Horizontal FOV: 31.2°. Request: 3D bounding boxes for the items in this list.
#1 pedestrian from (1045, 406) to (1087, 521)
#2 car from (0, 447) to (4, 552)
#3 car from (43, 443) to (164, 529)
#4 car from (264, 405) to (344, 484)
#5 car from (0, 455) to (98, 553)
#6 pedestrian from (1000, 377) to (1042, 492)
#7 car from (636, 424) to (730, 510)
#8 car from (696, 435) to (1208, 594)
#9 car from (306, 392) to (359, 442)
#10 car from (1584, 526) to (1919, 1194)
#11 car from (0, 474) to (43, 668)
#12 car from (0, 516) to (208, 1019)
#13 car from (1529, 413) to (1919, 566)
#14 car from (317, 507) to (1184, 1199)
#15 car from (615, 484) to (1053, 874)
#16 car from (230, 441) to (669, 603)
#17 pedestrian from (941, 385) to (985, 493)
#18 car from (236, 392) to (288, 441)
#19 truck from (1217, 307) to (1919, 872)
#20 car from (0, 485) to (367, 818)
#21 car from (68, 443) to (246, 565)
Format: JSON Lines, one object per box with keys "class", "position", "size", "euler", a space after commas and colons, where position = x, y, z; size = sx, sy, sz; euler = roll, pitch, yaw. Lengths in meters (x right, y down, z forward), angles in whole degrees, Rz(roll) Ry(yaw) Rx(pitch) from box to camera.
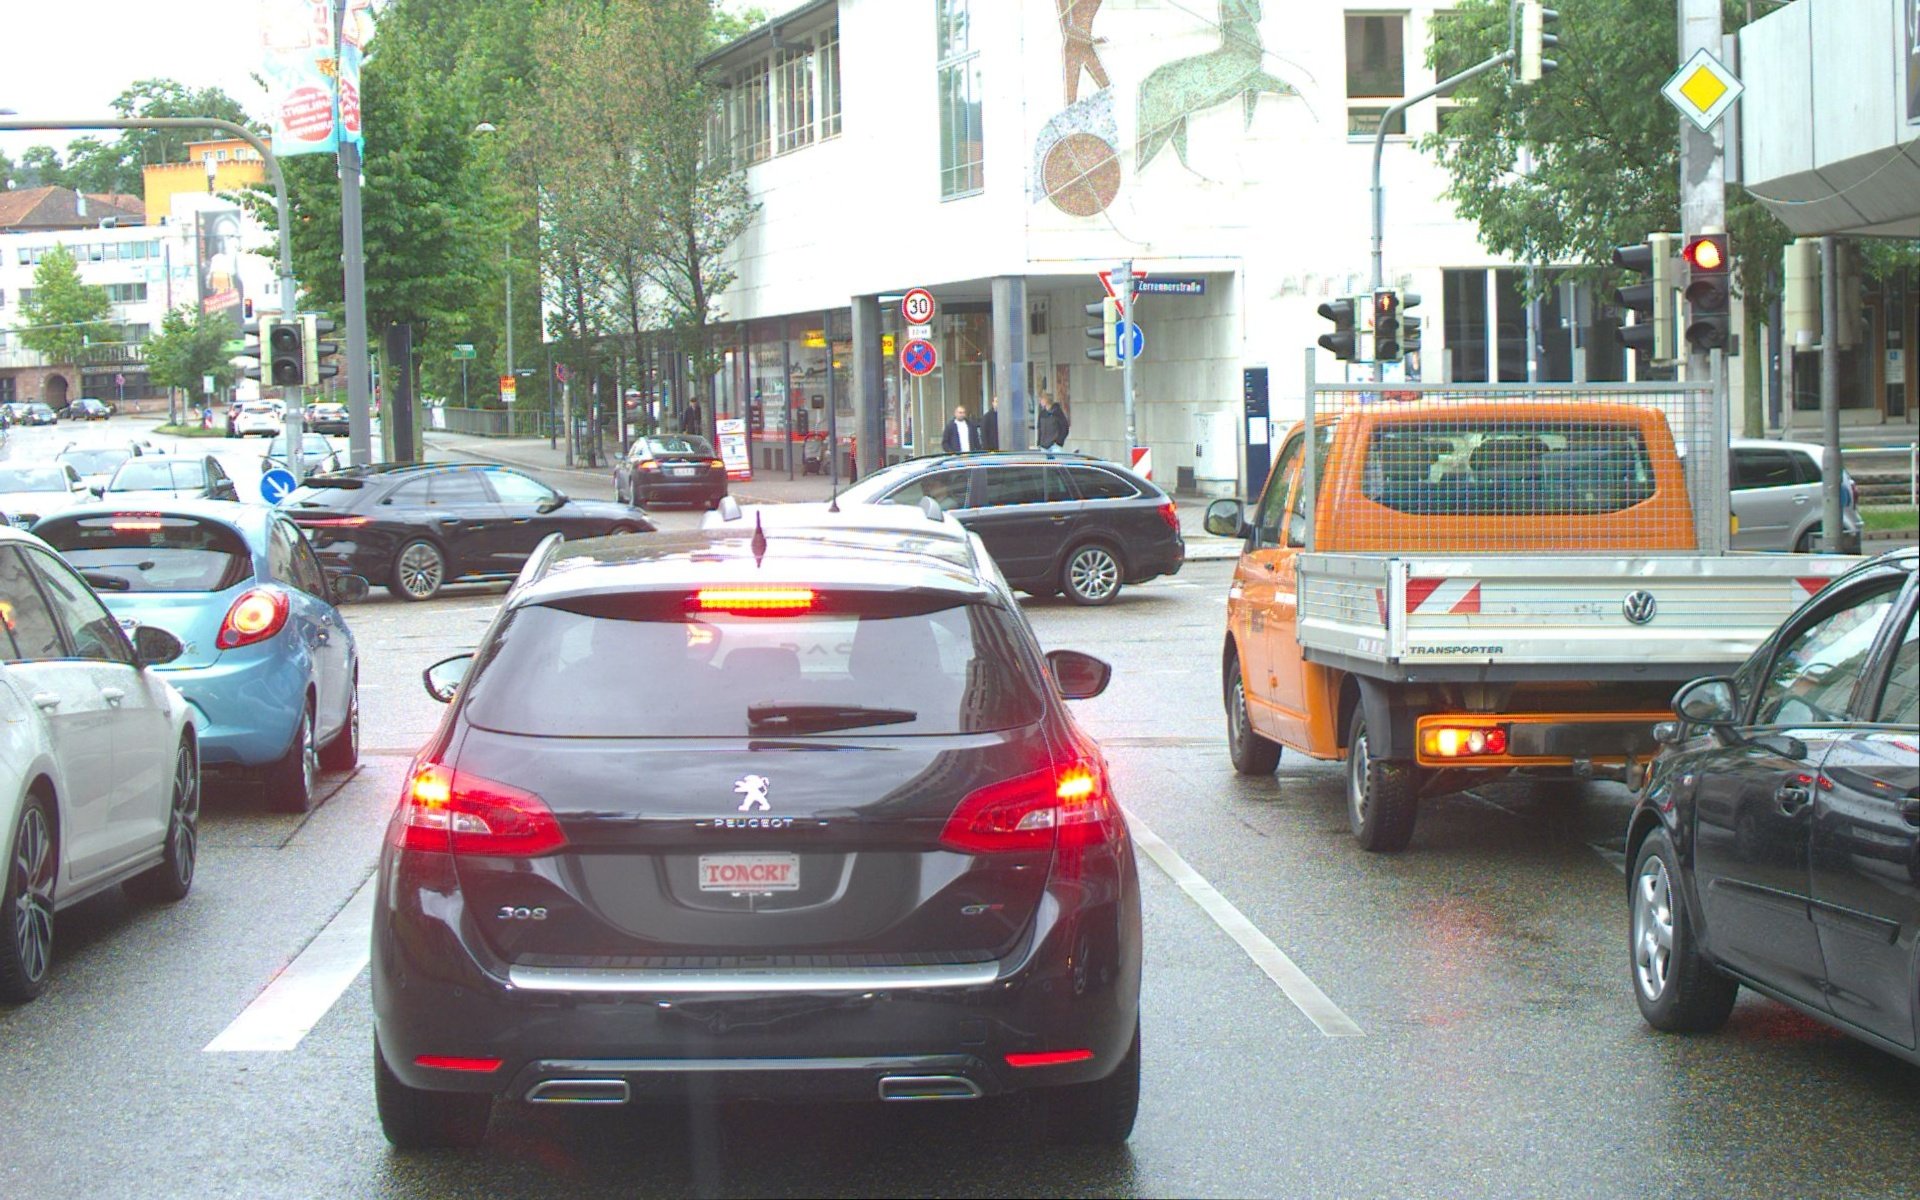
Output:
{"class": "pedestrian", "position": [1.779, -2.289, 57.763], "size": [0.637, 1.891, 0.733], "euler": [0, 0, 6]}
{"class": "car", "position": [-14.250, -1.355, 47.002], "size": [1.574, 1.481, 3.610], "euler": [0, 2, -4]}
{"class": "car", "position": [-15.218, -2.044, 61.199], "size": [1.632, 1.481, 3.611], "euler": [0, 2, -7]}
{"class": "car", "position": [-15.088, -3.559, 79.106], "size": [1.744, 1.634, 4.001], "euler": [1, 0, -11]}
{"class": "car", "position": [-14.603, -1.530, 53.938], "size": [1.632, 1.481, 3.611], "euler": [0, 2, -7]}
{"class": "pedestrian", "position": [1.025, -2.775, 57.779], "size": [0.637, 1.891, 0.733], "euler": [0, 0, 6]}
{"class": "car", "position": [-5.473, -2.578, 67.505], "size": [1.724, 1.485, 4.734], "euler": [0, 0, -6]}
{"class": "car", "position": [-0.096, -0.838, 33.507], "size": [4.721, 1.481, 1.639], "euler": [0, 2, -15]}
{"class": "car", "position": [-26.872, -7.817, 147.135], "size": [1.705, 1.929, 4.001], "euler": [1, 0, -18]}
{"class": "car", "position": [2.842, 0.555, 8.650], "size": [1.616, 1.424, 3.843], "euler": [0, 2, -3]}
{"class": "car", "position": [-9.792, -0.204, 28.202], "size": [4.226, 1.559, 1.705], "euler": [-2, 2, -11]}
{"class": "car", "position": [-3.738, 0.448, 11.462], "size": [1.777, 1.424, 3.843], "euler": [0, 2, -3]}
{"class": "car", "position": [8.052, -1.118, 35.709], "size": [3.894, 1.481, 1.624], "euler": [0, 0, -12]}
{"class": "car", "position": [-0.512, 0.487, 9.016], "size": [1.777, 1.424, 3.843], "euler": [0, 2, -2]}
{"class": "car", "position": [-0.518, 0.245, 15.305], "size": [1.696, 1.481, 3.794], "euler": [0, 2, -1]}
{"class": "car", "position": [-5.487, -0.884, 37.384], "size": [1.792, 1.449, 4.496], "euler": [1, 5, 44]}
{"class": "pedestrian", "position": [0.047, -2.663, 56.844], "size": [0.637, 1.752, 0.733], "euler": [0, 0, 6]}
{"class": "car", "position": [-29.658, -7.772, 145.977], "size": [1.705, 1.875, 4.001], "euler": [1, 0, -18]}
{"class": "truck", "position": [2.581, -0.140, 15.785], "size": [2.177, 2.165, 5.021], "euler": [0, 2, -3]}
{"class": "car", "position": [-3.974, 0.179, 17.424], "size": [1.632, 1.481, 3.610], "euler": [0, 2, -5]}
{"class": "car", "position": [-11.031, -1.288, 47.447], "size": [1.744, 1.574, 4.000], "euler": [0, 0, -4]}
